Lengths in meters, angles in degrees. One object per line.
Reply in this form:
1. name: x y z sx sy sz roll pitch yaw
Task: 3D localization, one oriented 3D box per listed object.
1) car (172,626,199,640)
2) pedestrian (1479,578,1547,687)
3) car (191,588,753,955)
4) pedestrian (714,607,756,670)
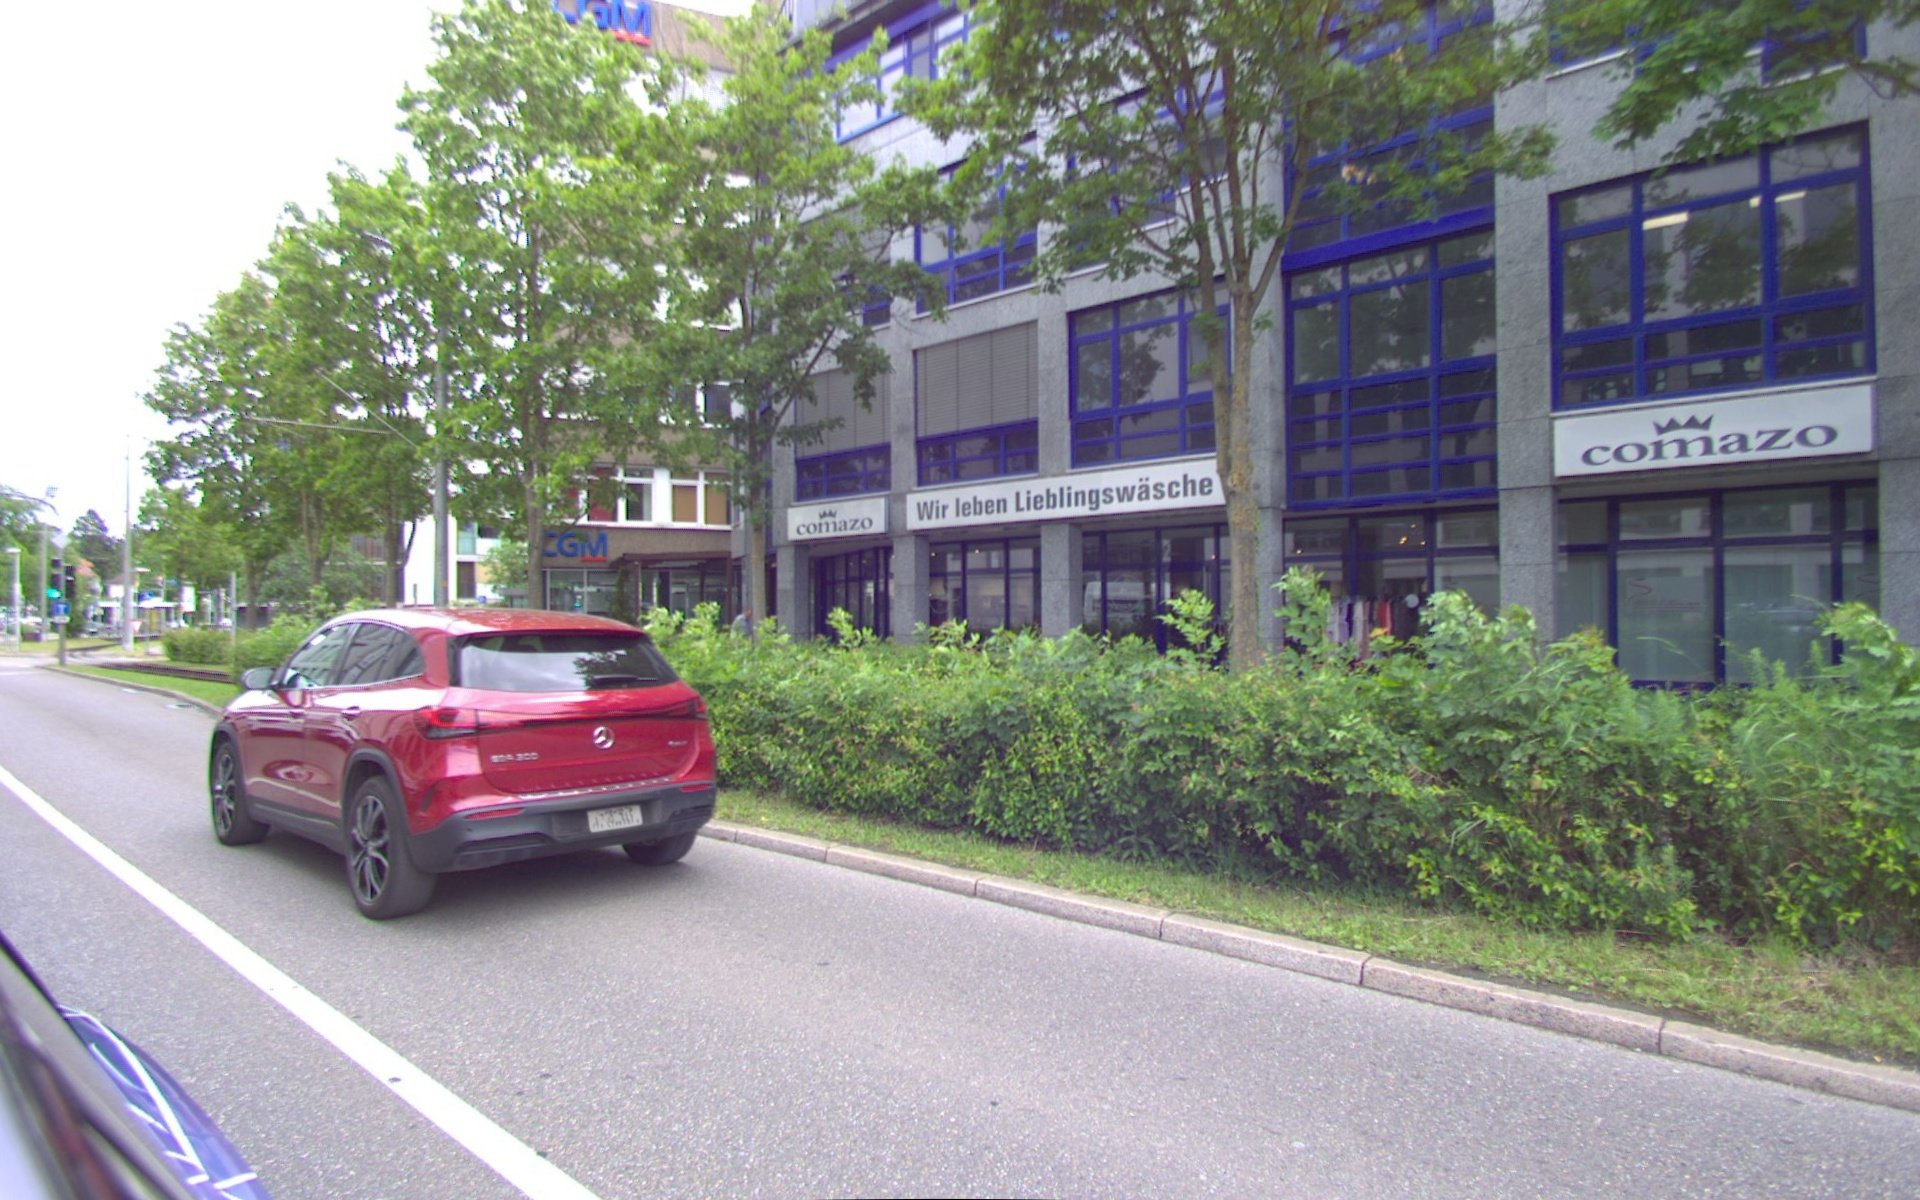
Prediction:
1. car: -110.511 4.732 144.457 1.965 1.913 4.013 -1 0 -21
2. pedestrian: 7.835 0.449 14.340 0.679 1.493 0.690 -2 0 41
3. car: -3.303 0.815 6.459 4.133 1.601 1.732 -2 -3 41
4. pedestrian: -5.431 0.921 24.437 0.676 1.493 0.692 -2 0 29
